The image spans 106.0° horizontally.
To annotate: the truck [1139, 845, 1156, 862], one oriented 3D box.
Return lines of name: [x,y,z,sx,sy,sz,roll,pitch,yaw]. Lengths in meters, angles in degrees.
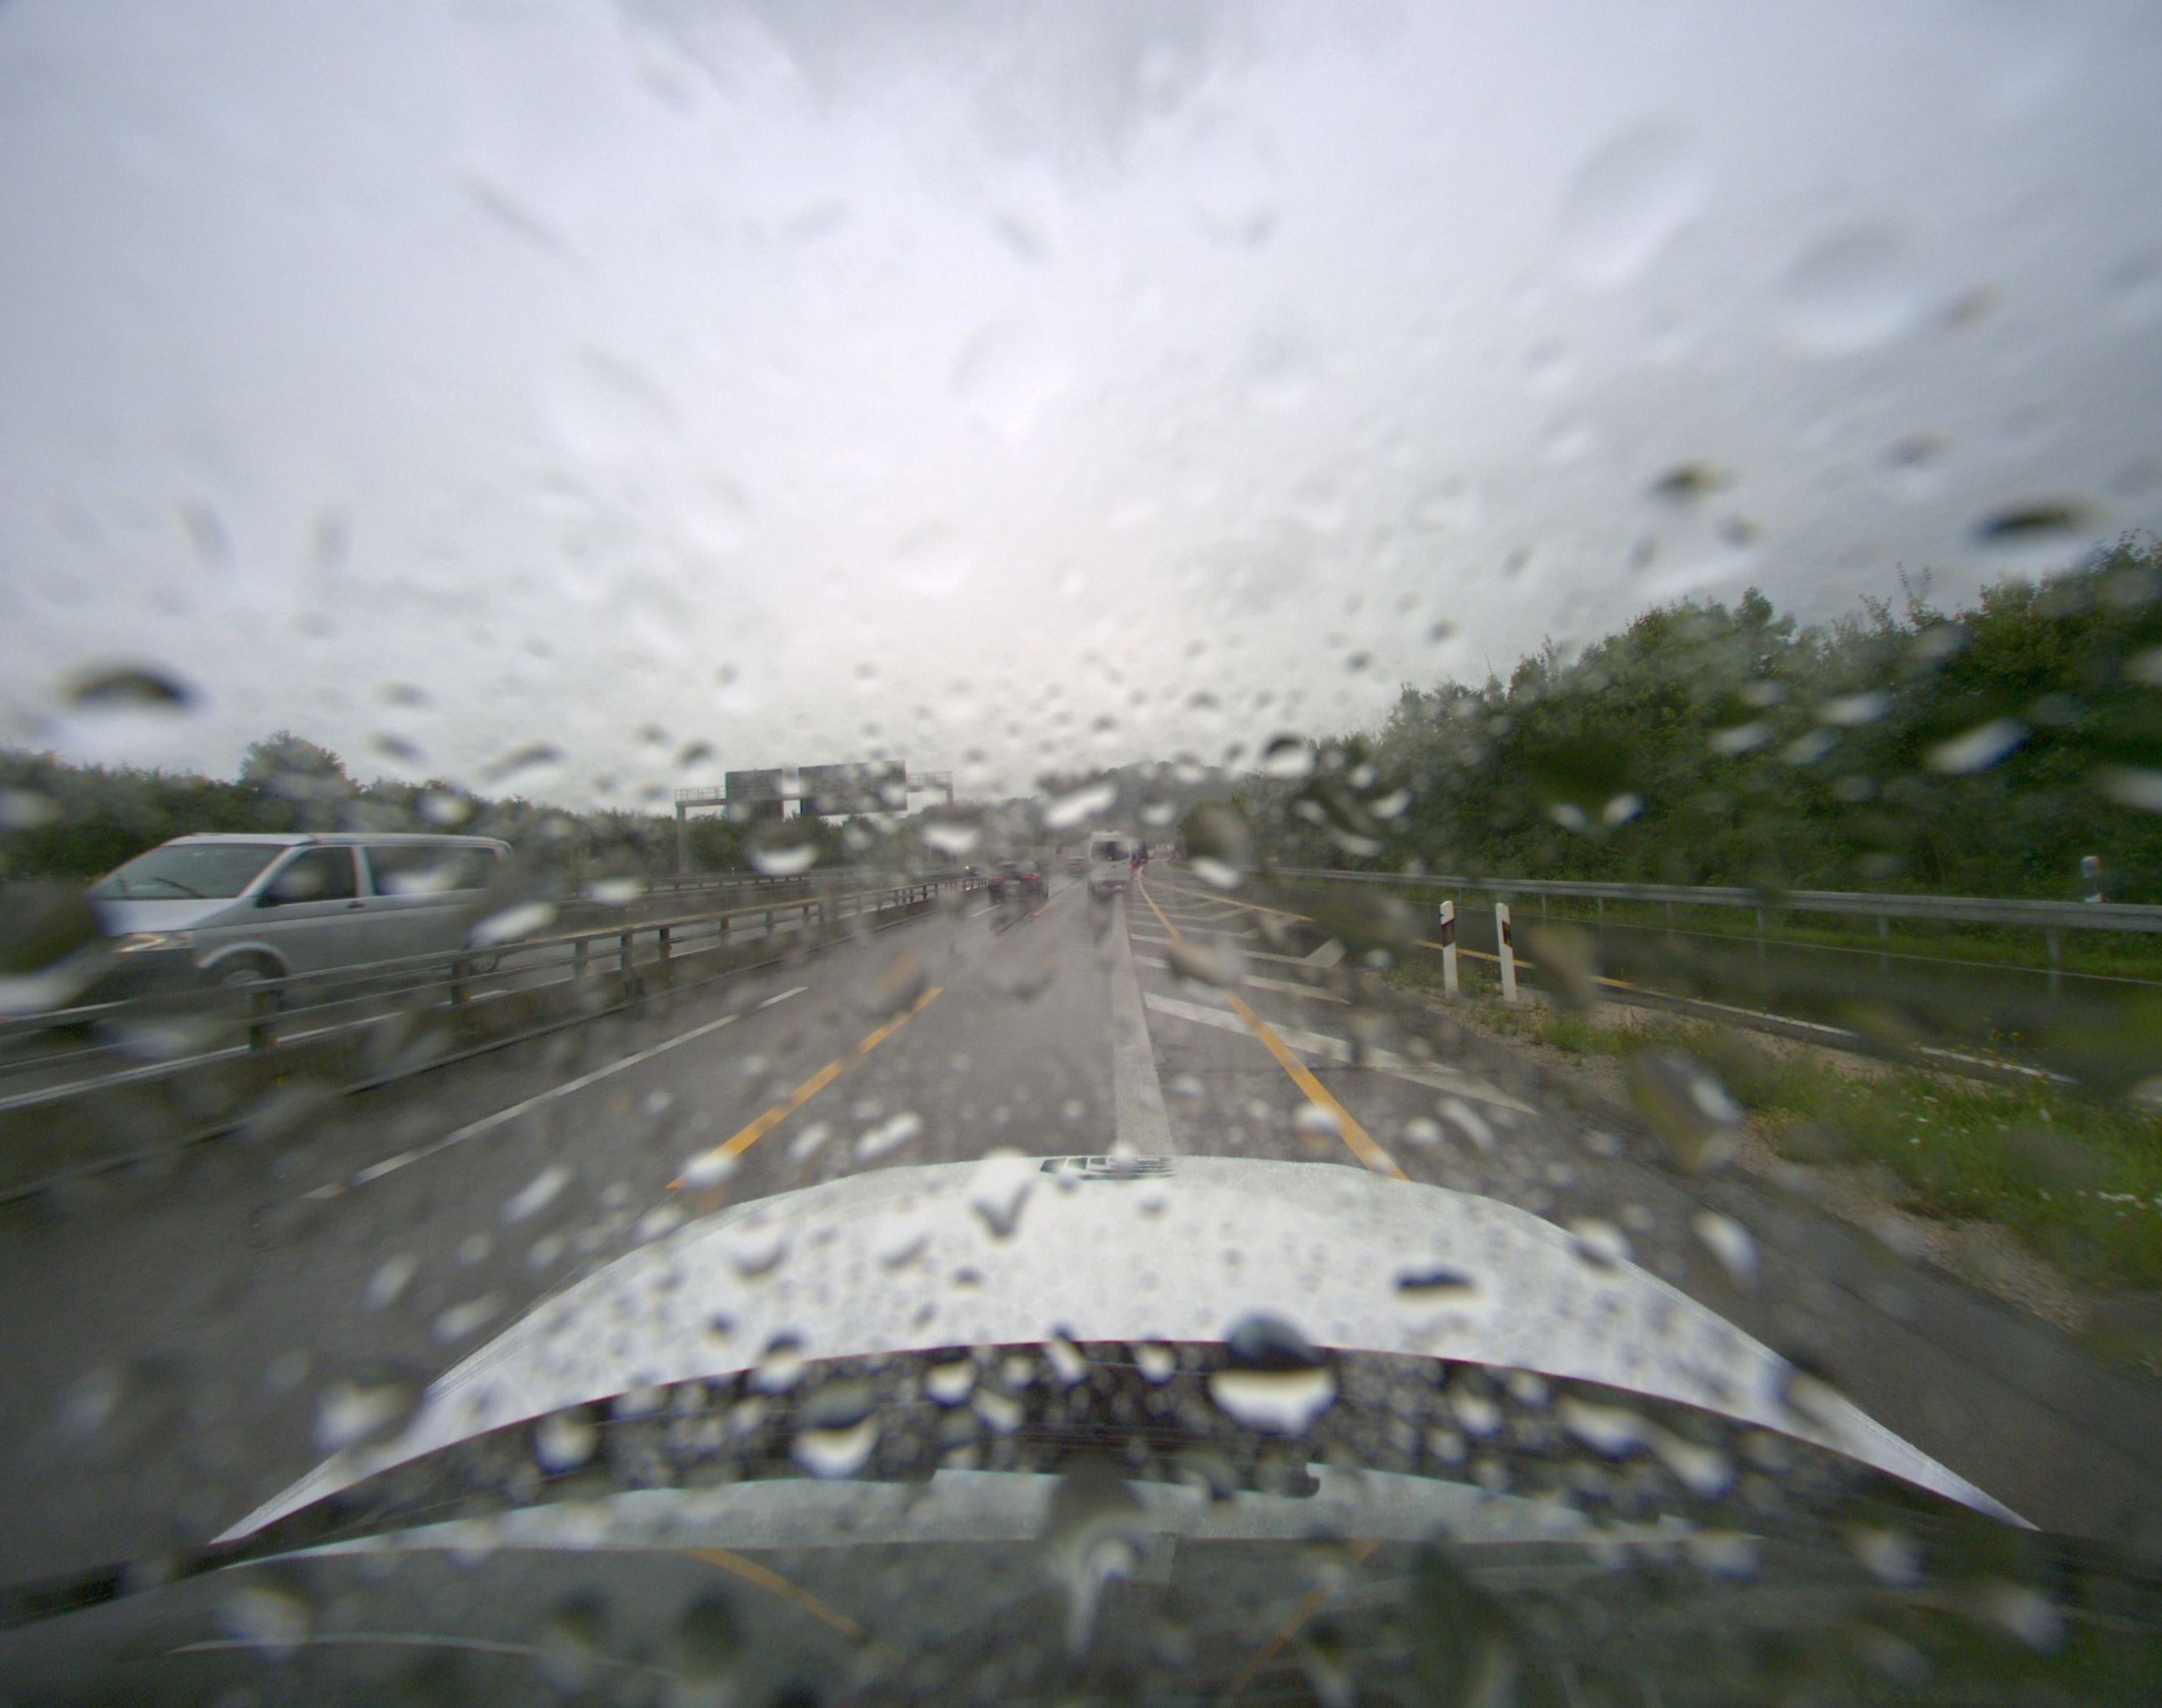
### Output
truck: [15.259,-0.134,186.819,3.308,3.762,9.910,0,-1,2]

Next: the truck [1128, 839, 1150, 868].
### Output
truck: [9.946,-0.059,140.923,3.308,4.785,9.910,0,-1,2]

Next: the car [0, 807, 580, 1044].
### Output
car: [-8.951,0.654,9.874,1.901,2.014,5.832,0,-1,3]

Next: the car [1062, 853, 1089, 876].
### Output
car: [-0.389,0.819,62.477,1.859,1.659,3.991,-1,-1,3]

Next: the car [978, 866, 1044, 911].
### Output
car: [-2.379,1.163,28.794,1.933,1.427,4.758,-1,-1,-1]

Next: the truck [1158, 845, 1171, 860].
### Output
truck: [27.080,-0.355,263.151,3.908,4.785,9.923,0,-1,6]

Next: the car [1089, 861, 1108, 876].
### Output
car: [1.804,1.489,83.205,1.845,1.500,4.003,-1,-1,3]

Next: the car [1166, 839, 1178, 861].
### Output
car: [17.846,-0.718,160.368,2.049,4.192,6.753,-1,-1,4]

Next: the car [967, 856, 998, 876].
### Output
car: [-7.026,0.838,58.206,1.625,1.351,3.656,-1,-1,2]

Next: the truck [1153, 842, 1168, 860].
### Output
truck: [22.025,-0.792,225.926,3.908,4.785,9.923,0,-1,6]

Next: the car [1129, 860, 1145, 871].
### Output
car: [6.215,1.275,90.800,1.381,1.256,3.119,-1,-1,-2]

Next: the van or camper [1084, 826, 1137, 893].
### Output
van or camper: [1.323,0.260,35.866,2.131,2.721,4.650,-1,-1,2]
